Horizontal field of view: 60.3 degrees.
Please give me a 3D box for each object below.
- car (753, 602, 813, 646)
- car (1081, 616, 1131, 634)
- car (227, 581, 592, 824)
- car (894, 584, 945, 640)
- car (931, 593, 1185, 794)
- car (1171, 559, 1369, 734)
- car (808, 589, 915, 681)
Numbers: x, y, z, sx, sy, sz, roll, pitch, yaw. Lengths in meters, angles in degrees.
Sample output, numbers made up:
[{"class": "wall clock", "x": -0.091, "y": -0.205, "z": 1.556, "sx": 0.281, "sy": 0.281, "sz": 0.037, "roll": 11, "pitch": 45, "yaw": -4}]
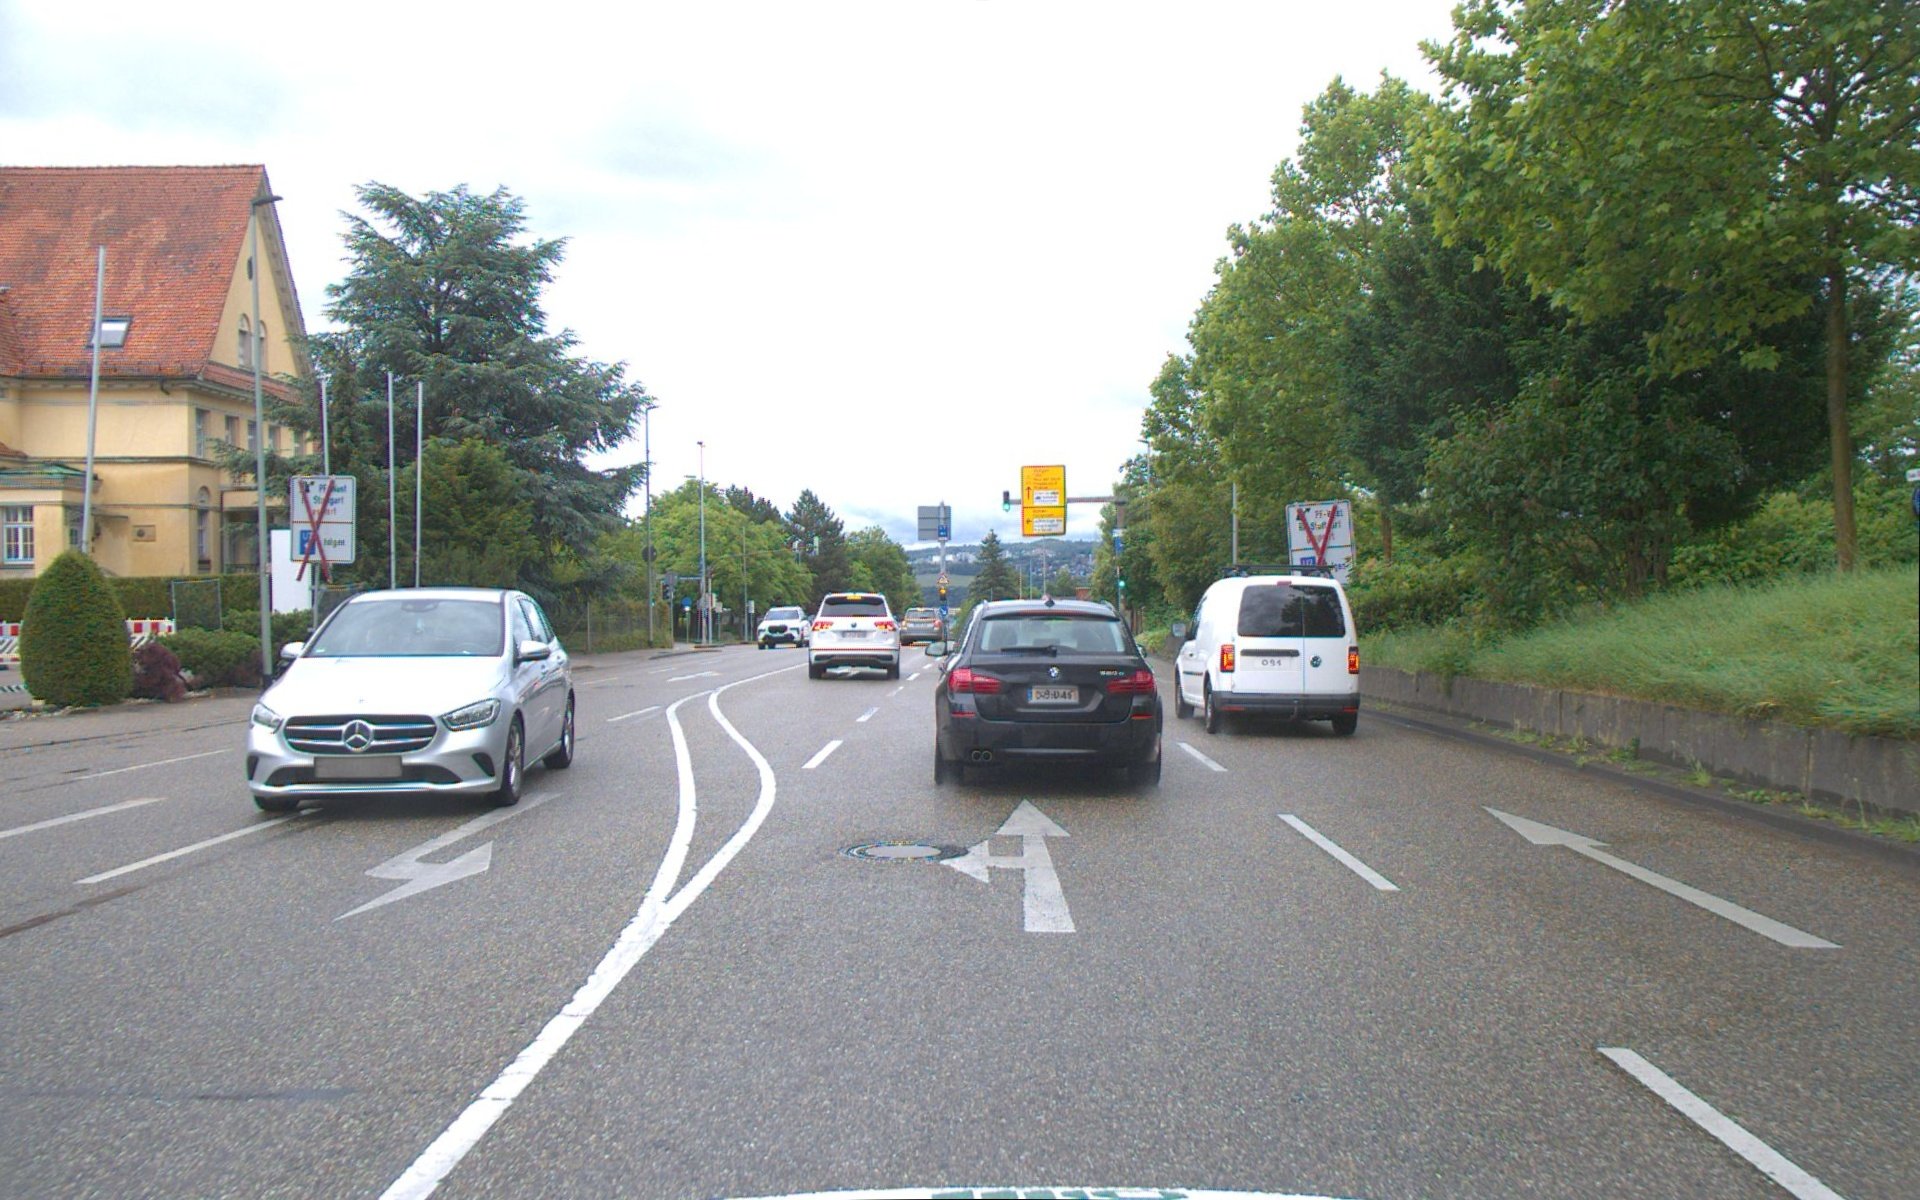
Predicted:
[{"class": "car", "x": -7.853, "y": 1.058, "z": 73.757, "sx": 1.878, "sy": 1.793, "sz": 5.144, "roll": -3, "pitch": 0, "yaw": 2}, {"class": "car", "x": 11.567, "y": 2.001, "z": 131.058, "sx": 3.903, "sy": 1.400, "sz": 1.586, "roll": 0, "pitch": -1, "yaw": 5}, {"class": "car", "x": -4.048, "y": 0.669, "z": 12.895, "sx": 1.715, "sy": 1.534, "sz": 4.297, "roll": -1, "pitch": 0, "yaw": -5}, {"class": "car", "x": -1.563, "y": 0.463, "z": 65.105, "sx": 1.773, "sy": 2.124, "sz": 3.851, "roll": 0, "pitch": 0, "yaw": 1}, {"class": "car", "x": 0.774, "y": 0.709, "z": 14.129, "sx": 1.859, "sy": 1.467, "sz": 4.000, "roll": 0, "pitch": -1, "yaw": 1}, {"class": "car", "x": 3.677, "y": 0.467, "z": 20.222, "sx": 1.728, "sy": 1.910, "sz": 3.806, "roll": 0, "pitch": 2, "yaw": 0}, {"class": "car", "x": -1.930, "y": 0.652, "z": 33.470, "sx": 1.830, "sy": 1.703, "sz": 4.001, "roll": 0, "pitch": 1, "yaw": 1}]
